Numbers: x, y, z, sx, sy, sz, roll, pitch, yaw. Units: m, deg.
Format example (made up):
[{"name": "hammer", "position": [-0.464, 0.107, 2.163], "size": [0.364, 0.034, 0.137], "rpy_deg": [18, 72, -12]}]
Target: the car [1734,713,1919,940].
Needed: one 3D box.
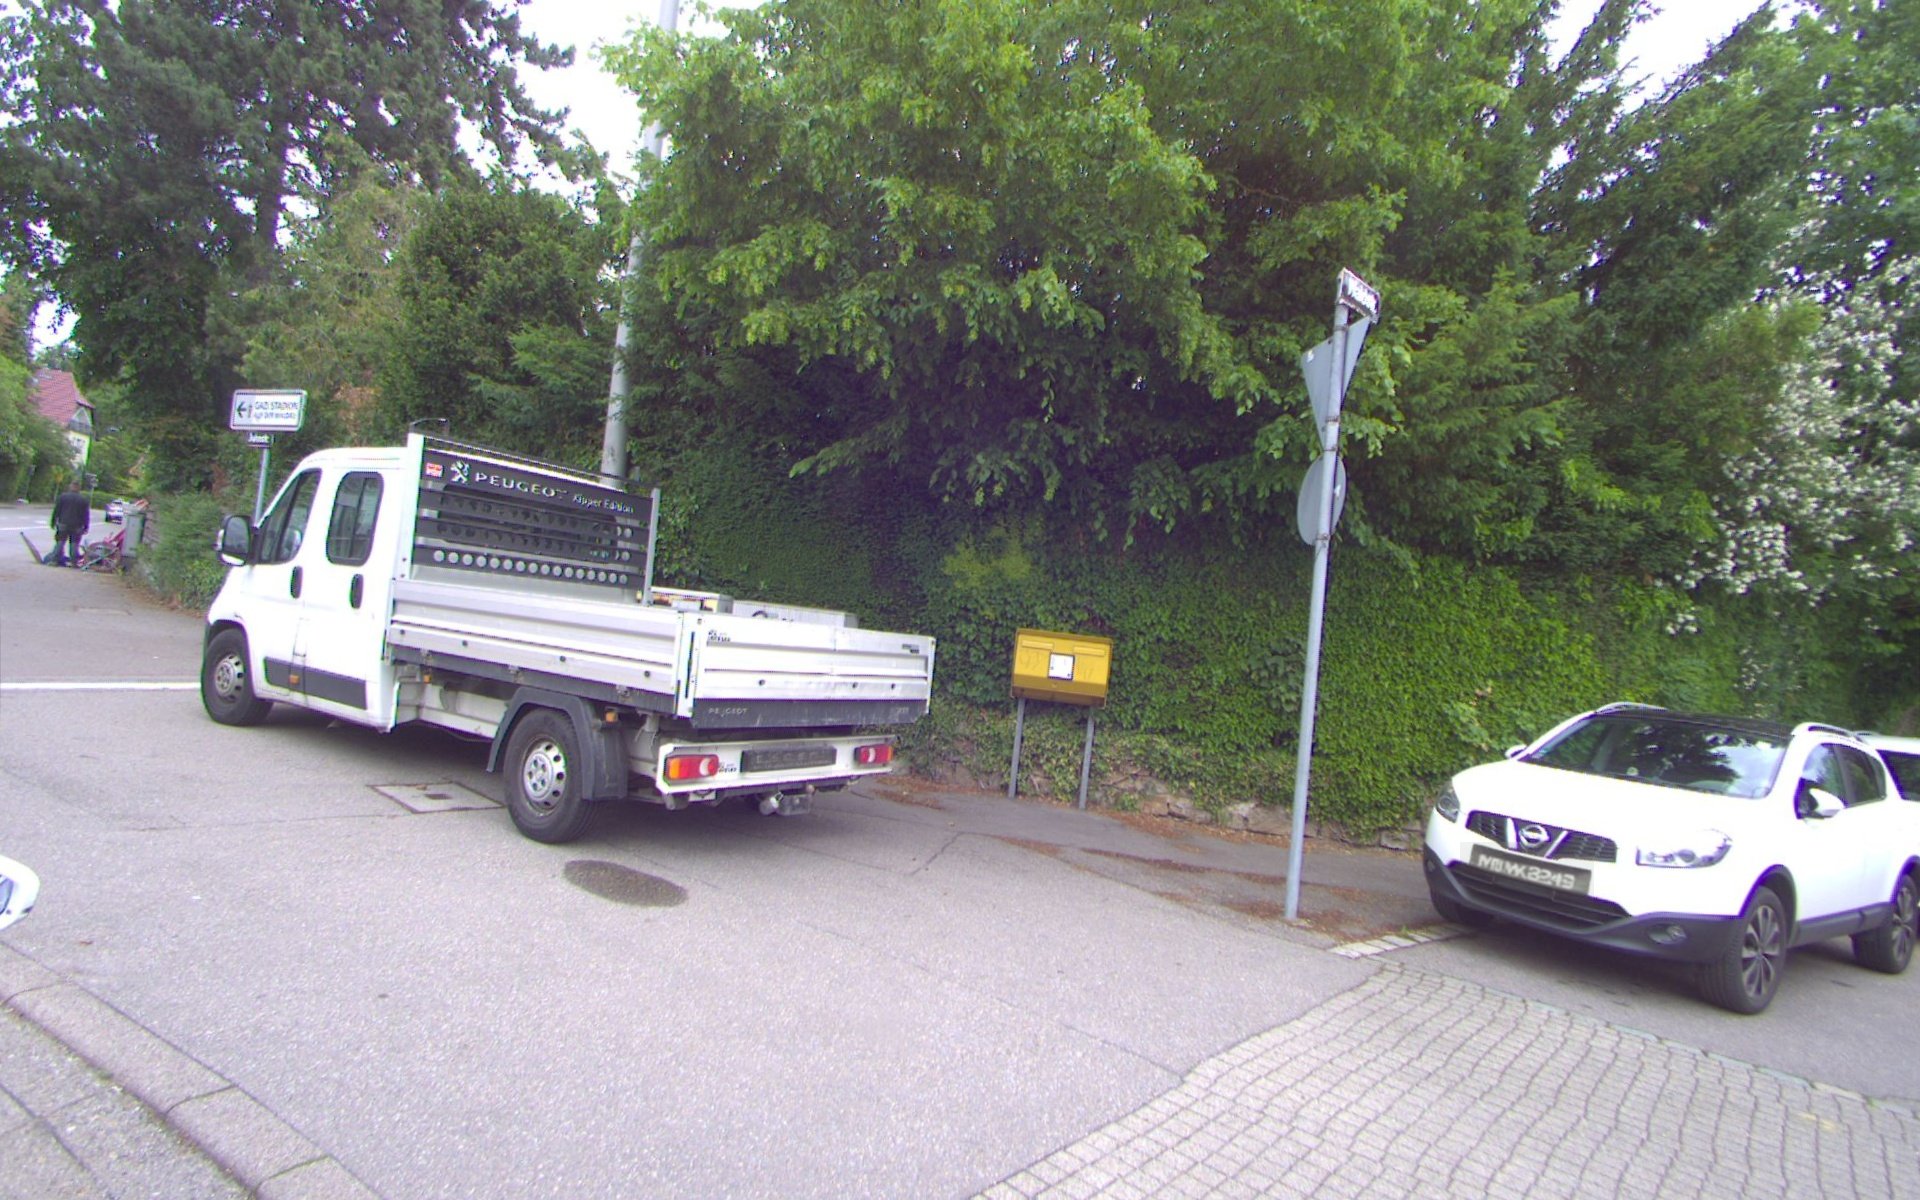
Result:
[{"name": "car", "position": [9.048, 2.113, 9.472], "size": [4.041, 1.641, 1.781], "rpy_deg": [9, -3, -38]}]

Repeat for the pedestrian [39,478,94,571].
[{"name": "pedestrian", "position": [-19.593, -1.652, 22.070], "size": [0.549, 1.929, 0.597], "rpy_deg": [7, -1, 32]}]

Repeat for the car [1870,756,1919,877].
[{"name": "car", "position": [13.840, 2.985, 13.450], "size": [4.040, 1.440, 1.781], "rpy_deg": [8, -2, -38]}]

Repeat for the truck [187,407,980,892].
[{"name": "truck", "position": [-2.932, 0.082, 7.165], "size": [5.631, 2.270, 2.211], "rpy_deg": [6, -2, 34]}]

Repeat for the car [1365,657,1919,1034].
[{"name": "car", "position": [4.769, 1.467, 6.660], "size": [4.098, 1.641, 1.783], "rpy_deg": [9, -2, -34]}]

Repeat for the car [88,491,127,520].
[{"name": "car", "position": [-62.252, -6.858, 73.475], "size": [1.798, 1.775, 4.441], "rpy_deg": [7, 0, -37]}]

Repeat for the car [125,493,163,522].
[{"name": "car", "position": [-69.660, -7.849, 85.933], "size": [1.982, 2.037, 3.964], "rpy_deg": [8, -2, -34]}]
